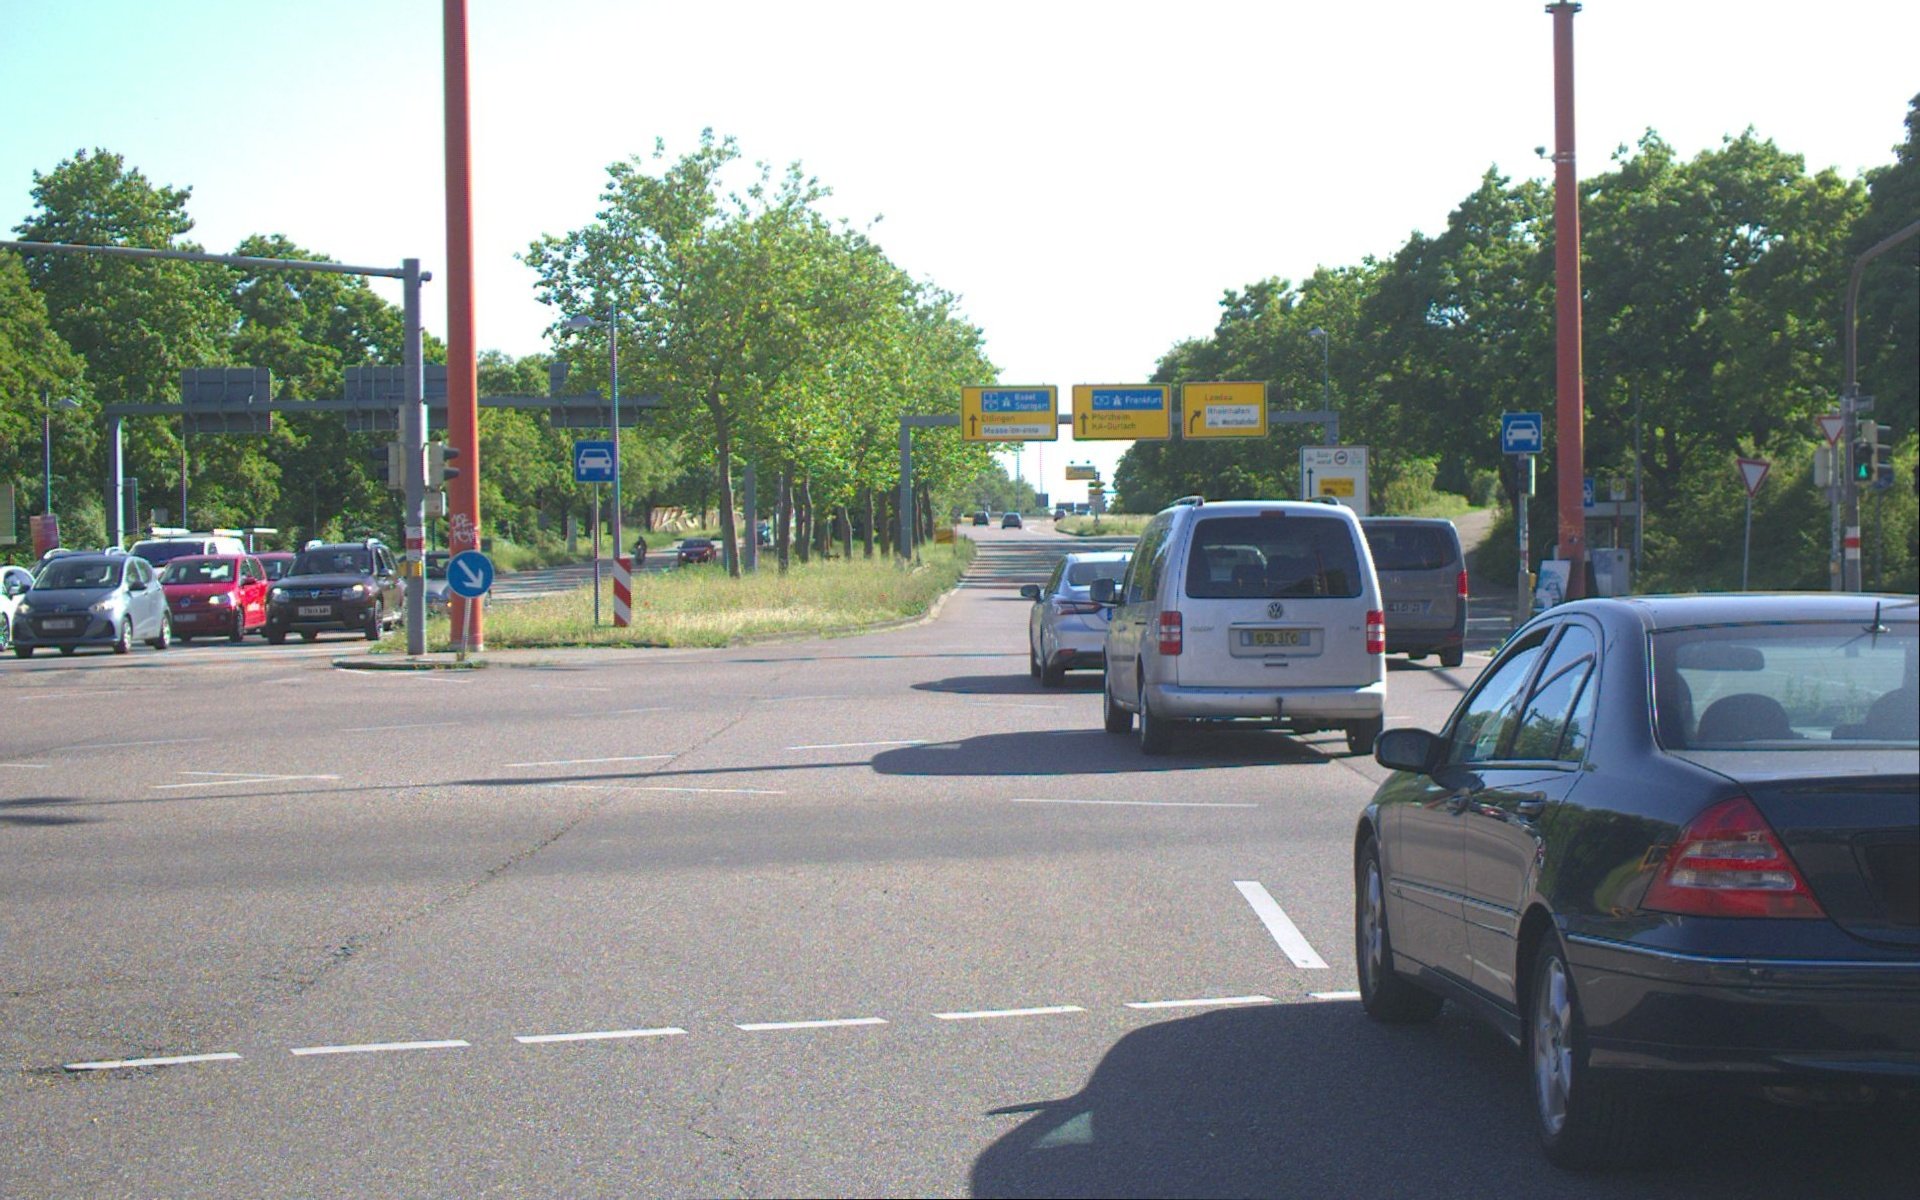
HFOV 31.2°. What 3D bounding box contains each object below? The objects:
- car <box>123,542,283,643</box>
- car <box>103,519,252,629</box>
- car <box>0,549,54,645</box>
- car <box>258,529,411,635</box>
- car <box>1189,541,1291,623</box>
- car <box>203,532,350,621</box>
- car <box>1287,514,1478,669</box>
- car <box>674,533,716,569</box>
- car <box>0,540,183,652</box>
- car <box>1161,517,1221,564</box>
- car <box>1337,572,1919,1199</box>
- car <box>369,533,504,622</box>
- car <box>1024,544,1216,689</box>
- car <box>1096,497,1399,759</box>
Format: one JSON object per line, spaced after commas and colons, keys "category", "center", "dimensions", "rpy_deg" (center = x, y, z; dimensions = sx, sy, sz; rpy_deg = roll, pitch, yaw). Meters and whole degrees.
{"category": "car", "center": [-12.863, -0.155, 58.627], "dimensions": [1.875, 1.547, 4.000], "rpy_deg": [-4, 1, -2]}
{"category": "car", "center": [-16.064, -0.563, 70.828], "dimensions": [1.961, 2.147, 5.082], "rpy_deg": [-1, 1, -1]}
{"category": "car", "center": [-16.528, -0.047, 57.280], "dimensions": [1.901, 1.549, 4.000], "rpy_deg": [-2, 1, -2]}
{"category": "car", "center": [-10.209, -0.325, 56.365], "dimensions": [1.793, 1.620, 4.144], "rpy_deg": [-2, 1, -1]}
{"category": "car", "center": [5.660, -0.370, 69.769], "dimensions": [1.716, 1.602, 3.847], "rpy_deg": [1, 1, 0]}
{"category": "car", "center": [-12.802, -0.450, 64.624], "dimensions": [1.901, 1.624, 4.000], "rpy_deg": [0, 1, 1]}
{"category": "car", "center": [5.354, -0.153, 44.185], "dimensions": [1.804, 1.845, 5.103], "rpy_deg": [-1, 1, 0]}
{"category": "car", "center": [-14.035, -2.597, 182.186], "dimensions": [1.915, 1.840, 3.961], "rpy_deg": [-1, 1, 0]}
{"category": "car", "center": [-13.214, -0.096, 52.289], "dimensions": [1.874, 1.545, 4.028], "rpy_deg": [-2, 1, -1]}
{"category": "car", "center": [8.240, -2.123, 122.853], "dimensions": [1.764, 1.630, 4.298], "rpy_deg": [1, 1, -1]}
{"category": "car", "center": [2.216, 0.683, 9.506], "dimensions": [1.713, 1.449, 4.198], "rpy_deg": [-1, 1, -2]}
{"category": "car", "center": [-9.685, -0.441, 63.844], "dimensions": [1.885, 1.538, 4.000], "rpy_deg": [-2, 1, -1]}
{"category": "car", "center": [1.713, 0.152, 38.254], "dimensions": [1.804, 1.488, 4.682], "rpy_deg": [1, 1, -1]}
{"category": "car", "center": [2.092, 0.171, 26.199], "dimensions": [1.804, 1.815, 4.587], "rpy_deg": [0, 1, -1]}
